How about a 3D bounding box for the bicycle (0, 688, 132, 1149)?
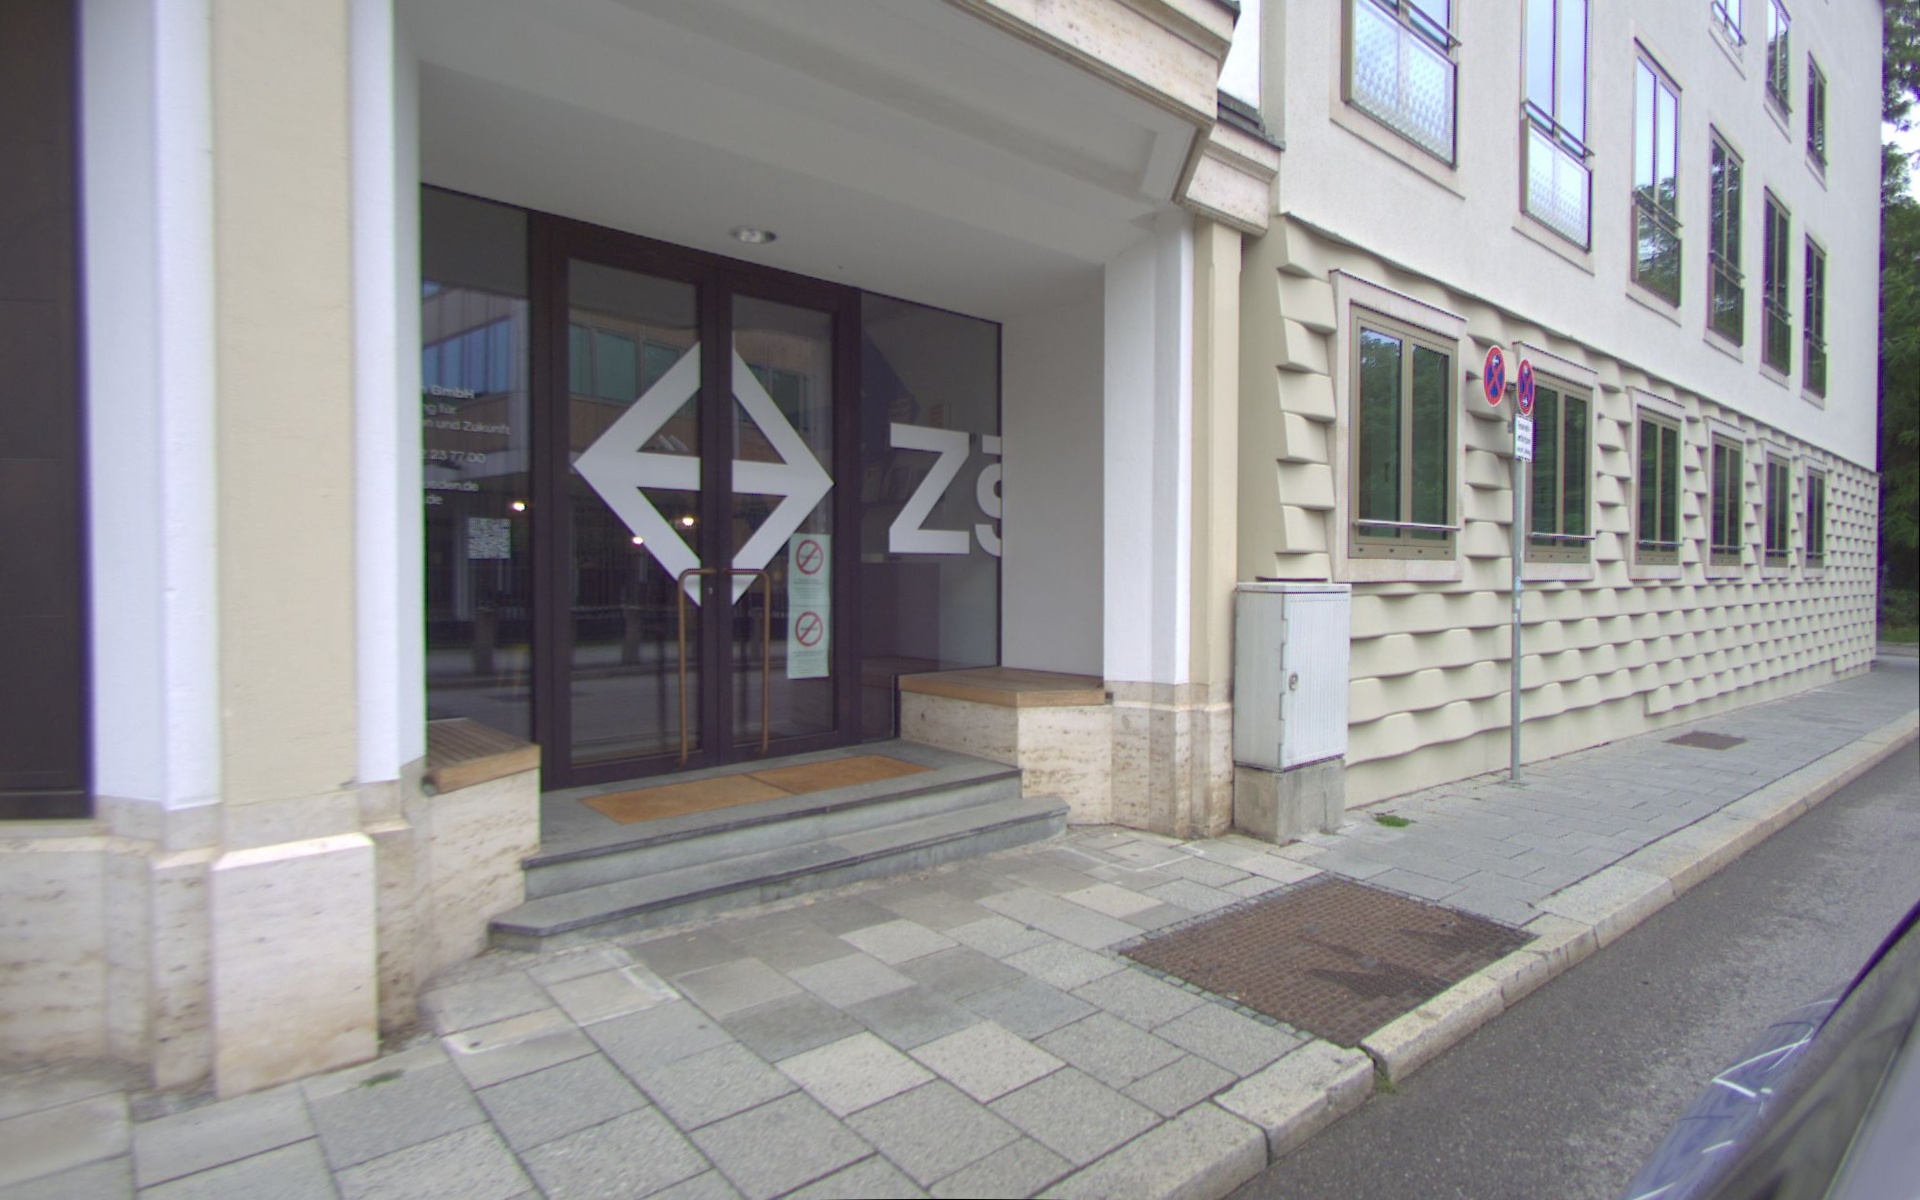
[{"bbox_3d":[-3.062,0.741,2.082,2.037,1.006,0.466,1,1,-31],"label":"bicycle"}]
